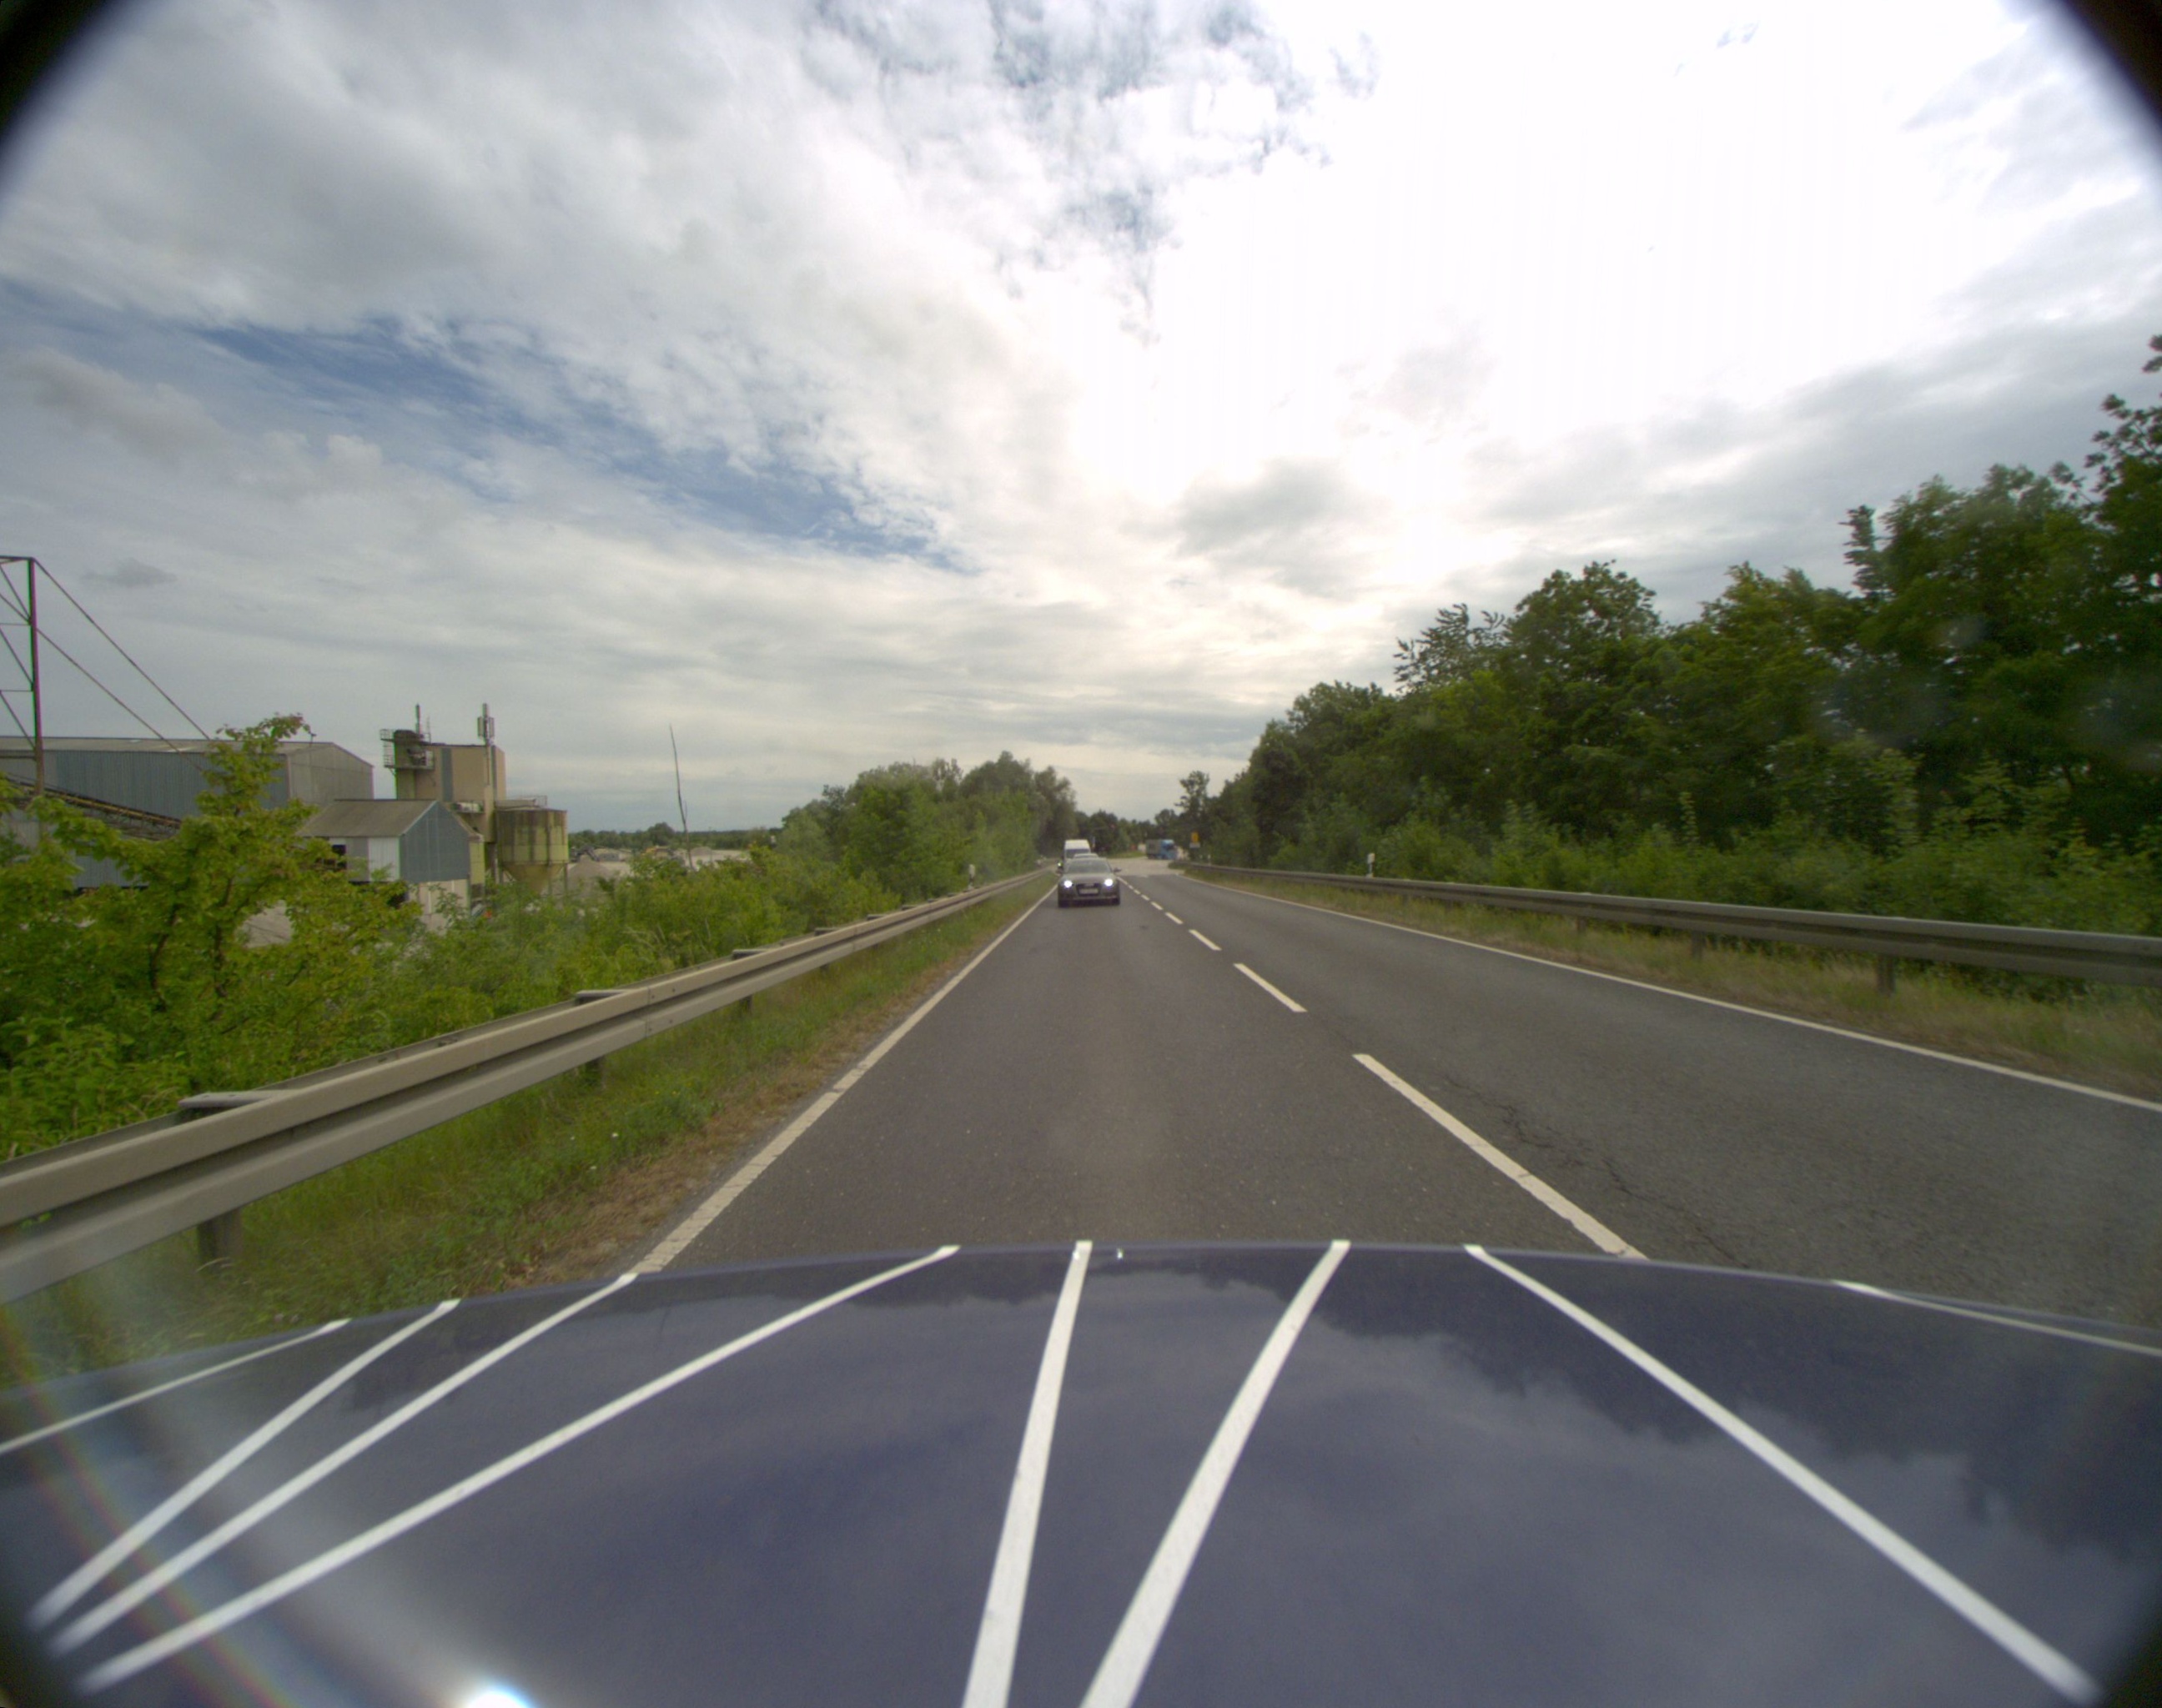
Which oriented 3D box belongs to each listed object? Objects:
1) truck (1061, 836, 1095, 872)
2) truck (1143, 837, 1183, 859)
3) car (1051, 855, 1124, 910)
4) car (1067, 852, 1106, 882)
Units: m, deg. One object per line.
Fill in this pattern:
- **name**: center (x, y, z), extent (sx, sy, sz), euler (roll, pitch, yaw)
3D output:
- **truck**: center (-0.267, -0.064, 57.270), extent (2.379, 2.579, 5.996), euler (1, 1, -1)
- **truck**: center (16.715, -1.217, 156.034), extent (3.034, 4.325, 9.545), euler (0, 1, -30)
- **car**: center (0.320, 0.822, 24.444), extent (1.964, 1.447, 4.797), euler (-2, 1, 5)
- **car**: center (0.354, 0.684, 42.295), extent (1.826, 1.489, 4.225), euler (2, 1, 4)
